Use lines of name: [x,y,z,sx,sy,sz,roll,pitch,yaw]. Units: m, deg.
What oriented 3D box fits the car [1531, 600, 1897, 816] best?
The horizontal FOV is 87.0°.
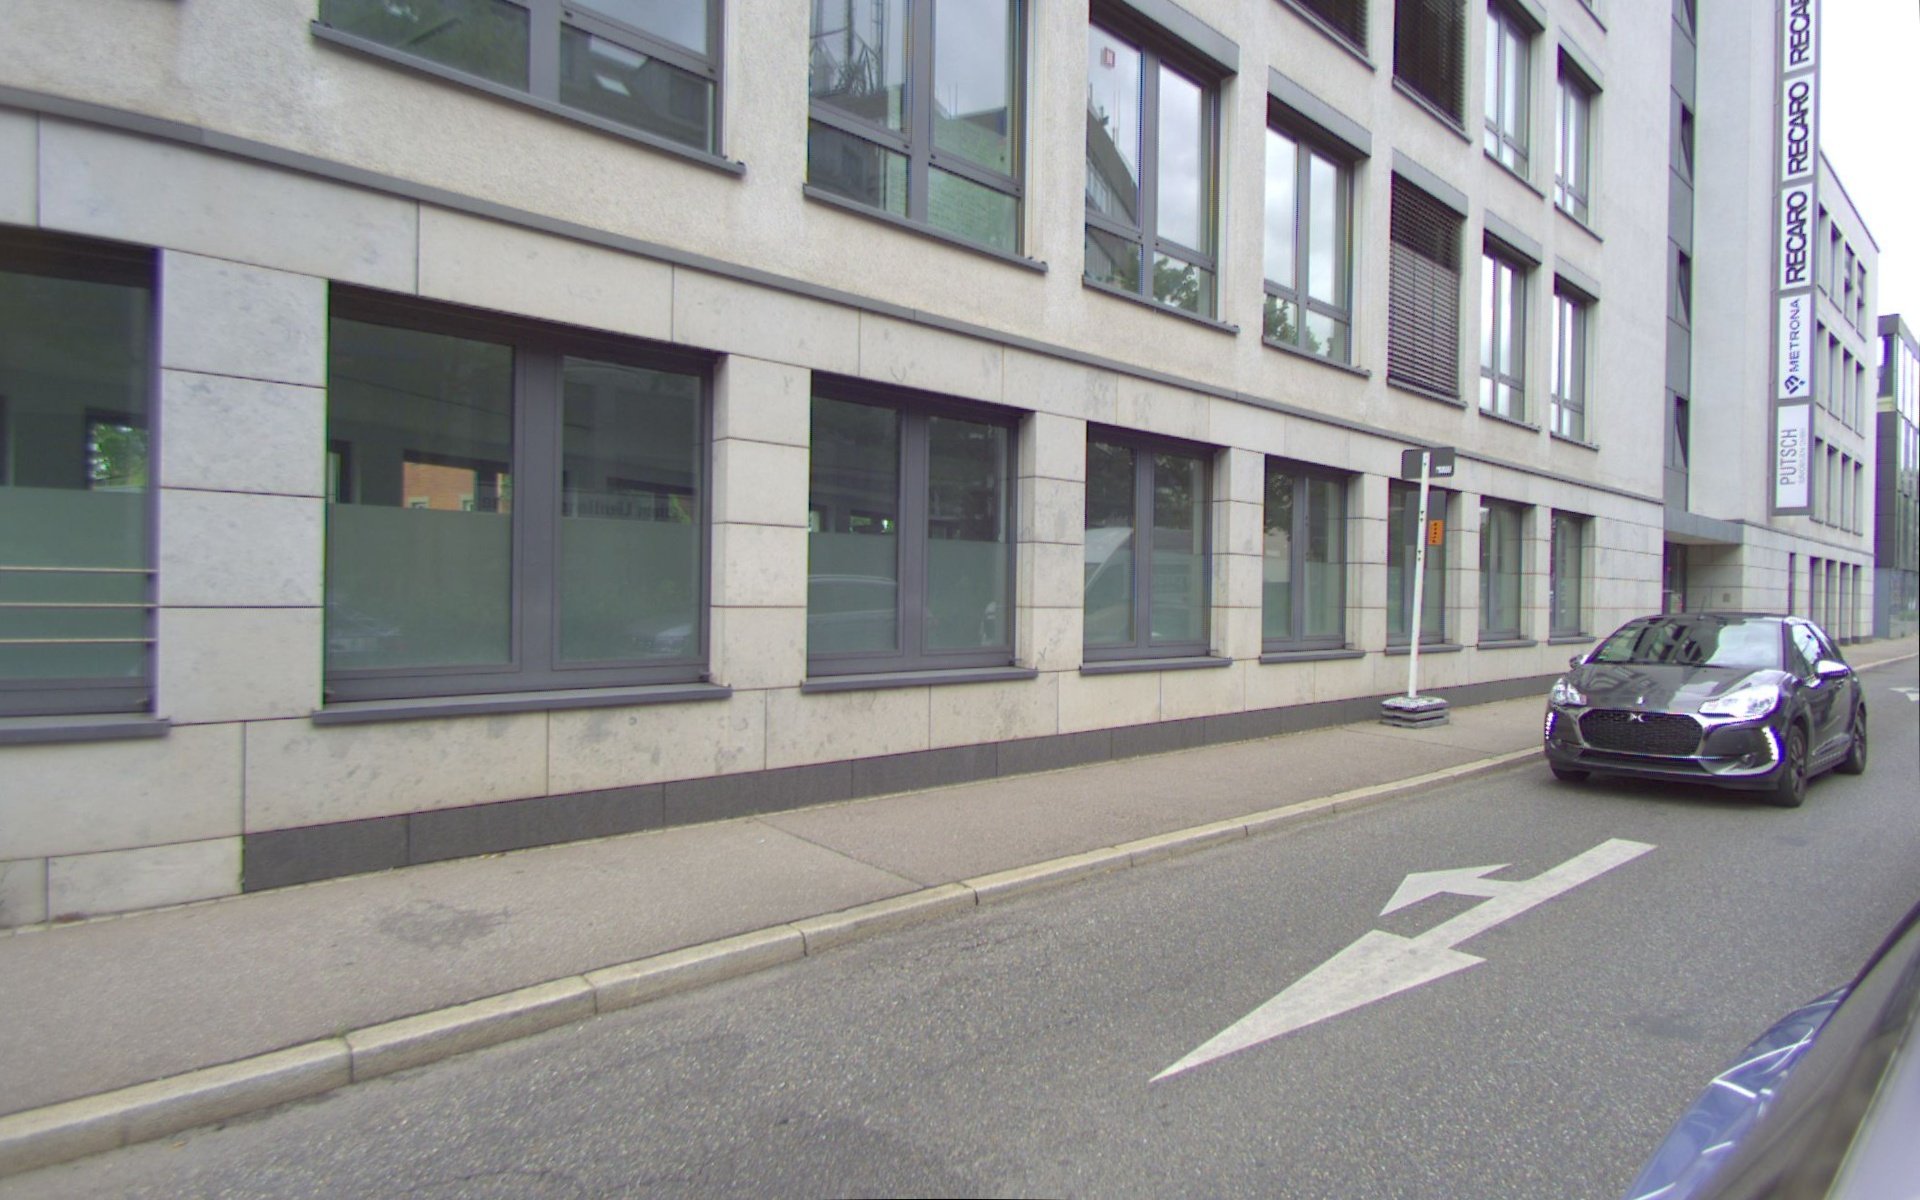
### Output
car: [6.737,0.752,8.893,3.990,1.479,1.704,0,-1,-40]
